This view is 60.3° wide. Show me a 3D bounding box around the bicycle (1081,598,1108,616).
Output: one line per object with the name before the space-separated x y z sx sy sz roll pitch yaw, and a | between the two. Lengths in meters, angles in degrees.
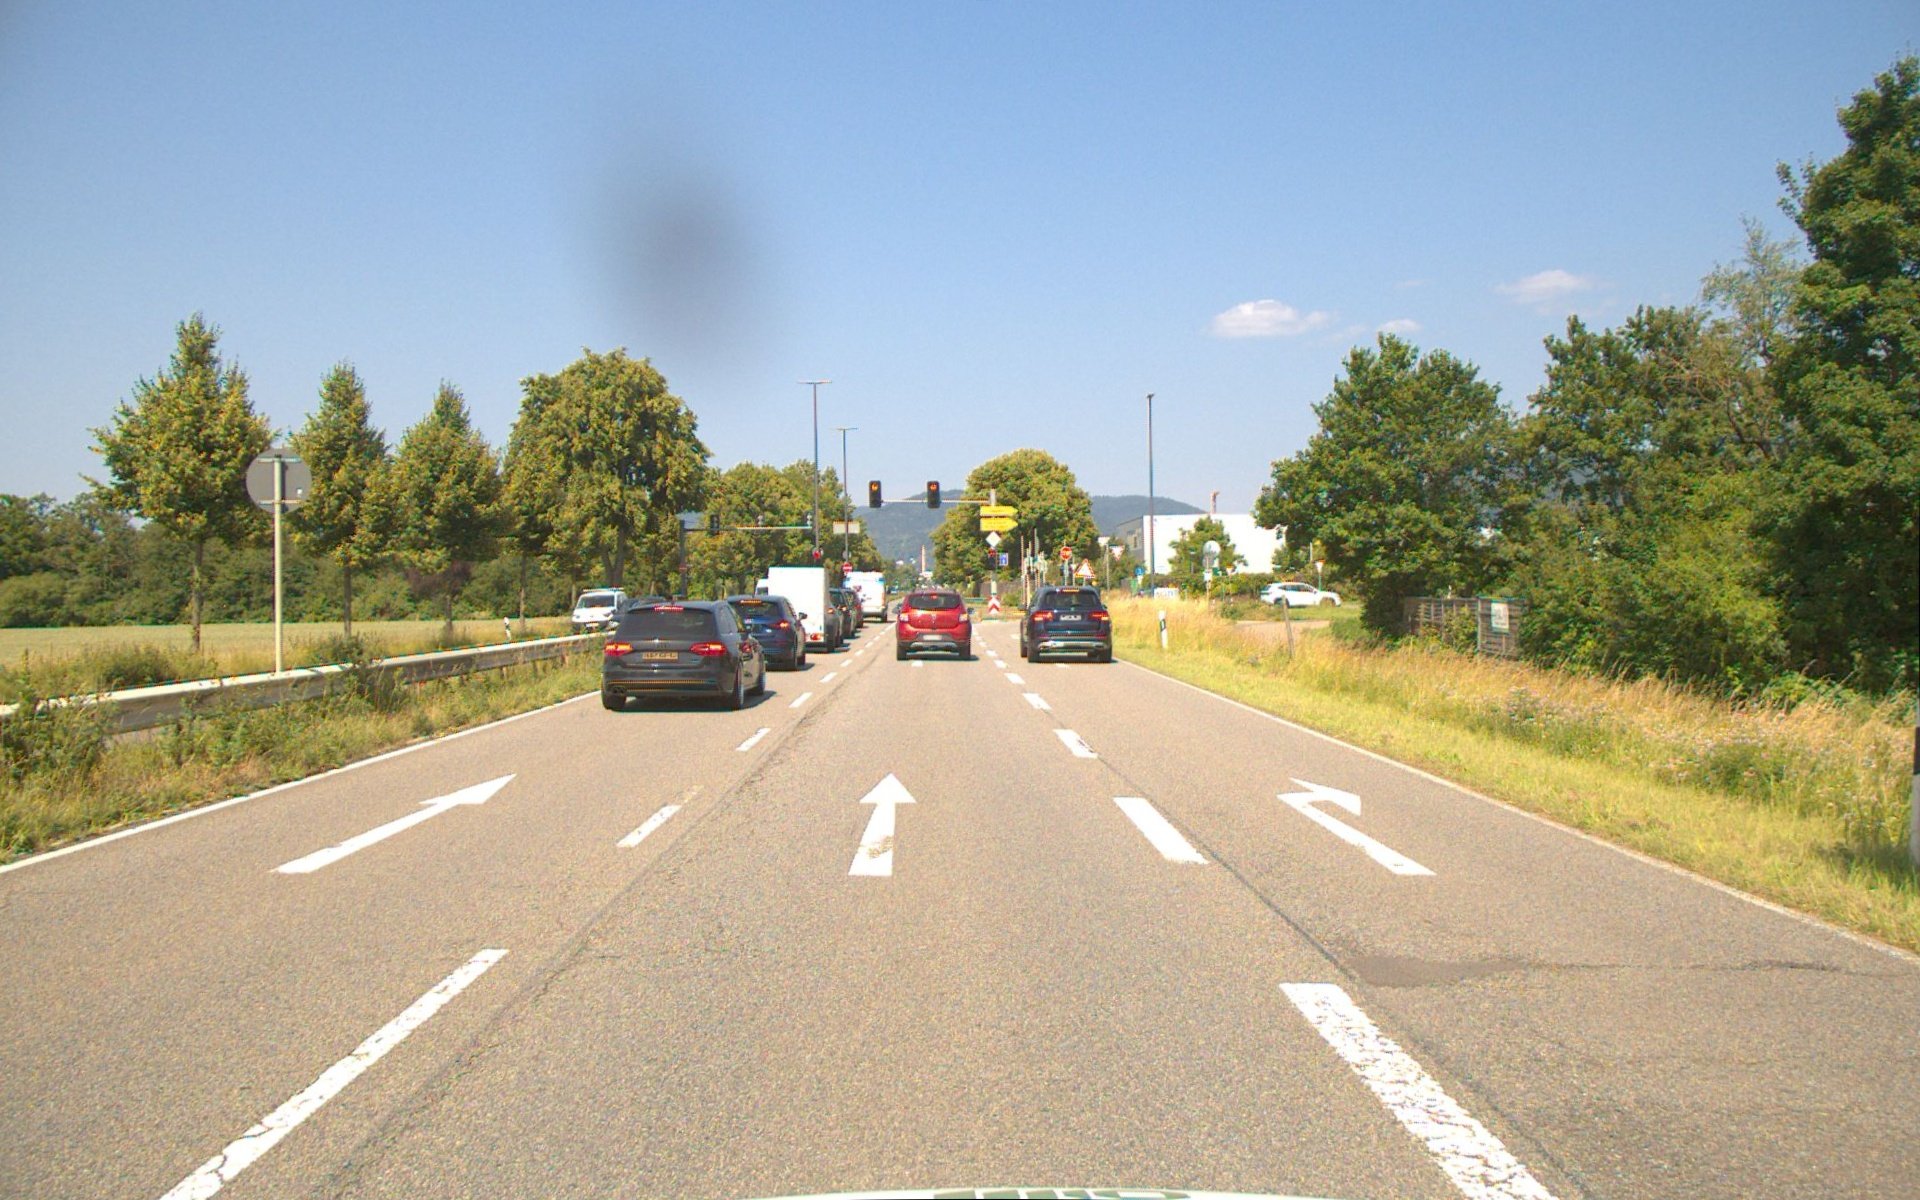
bicycle | 7.150 0.378 87.930 0.748 0.931 2.772 -1 0 -10

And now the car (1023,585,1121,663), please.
car | 2.449 0.498 37.114 1.952 1.645 4.339 0 0 0

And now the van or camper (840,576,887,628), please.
van or camper | -4.555 0.079 78.032 2.136 2.343 4.823 -1 0 -3

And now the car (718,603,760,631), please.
car | -12.625 0.956 94.668 1.841 1.480 4.503 -1 0 -2

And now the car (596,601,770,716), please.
car | -3.687 0.726 22.737 1.705 1.404 4.454 0 0 -1

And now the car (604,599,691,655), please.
car | -9.722 0.813 51.776 1.953 1.631 4.479 -1 0 -2

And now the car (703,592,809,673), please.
car | -3.974 0.600 32.731 1.682 1.491 4.029 0 0 -1

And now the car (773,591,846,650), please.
car | -4.181 0.542 46.463 1.710 1.529 4.361 -1 0 -2

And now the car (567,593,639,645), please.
car | -14.436 0.725 67.049 1.953 1.986 4.828 -1 0 -2

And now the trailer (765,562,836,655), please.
trailer | -4.025 0.197 42.262 1.470 2.211 4.173 -1 0 -1

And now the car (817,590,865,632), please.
car | -4.772 0.417 66.878 1.689 1.628 3.955 0 0 -1

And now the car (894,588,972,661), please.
car | -0.580 0.529 38.231 1.713 1.603 3.676 0 0 0

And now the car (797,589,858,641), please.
car | -4.252 0.468 53.419 1.688 1.603 3.892 0 0 0

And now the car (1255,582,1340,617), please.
car | 18.971 -0.030 93.084 4.397 1.900 1.885 -1 0 1

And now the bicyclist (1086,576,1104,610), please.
bicyclist | 7.166 -0.370 87.837 0.788 1.802 0.806 -1 0 -11
